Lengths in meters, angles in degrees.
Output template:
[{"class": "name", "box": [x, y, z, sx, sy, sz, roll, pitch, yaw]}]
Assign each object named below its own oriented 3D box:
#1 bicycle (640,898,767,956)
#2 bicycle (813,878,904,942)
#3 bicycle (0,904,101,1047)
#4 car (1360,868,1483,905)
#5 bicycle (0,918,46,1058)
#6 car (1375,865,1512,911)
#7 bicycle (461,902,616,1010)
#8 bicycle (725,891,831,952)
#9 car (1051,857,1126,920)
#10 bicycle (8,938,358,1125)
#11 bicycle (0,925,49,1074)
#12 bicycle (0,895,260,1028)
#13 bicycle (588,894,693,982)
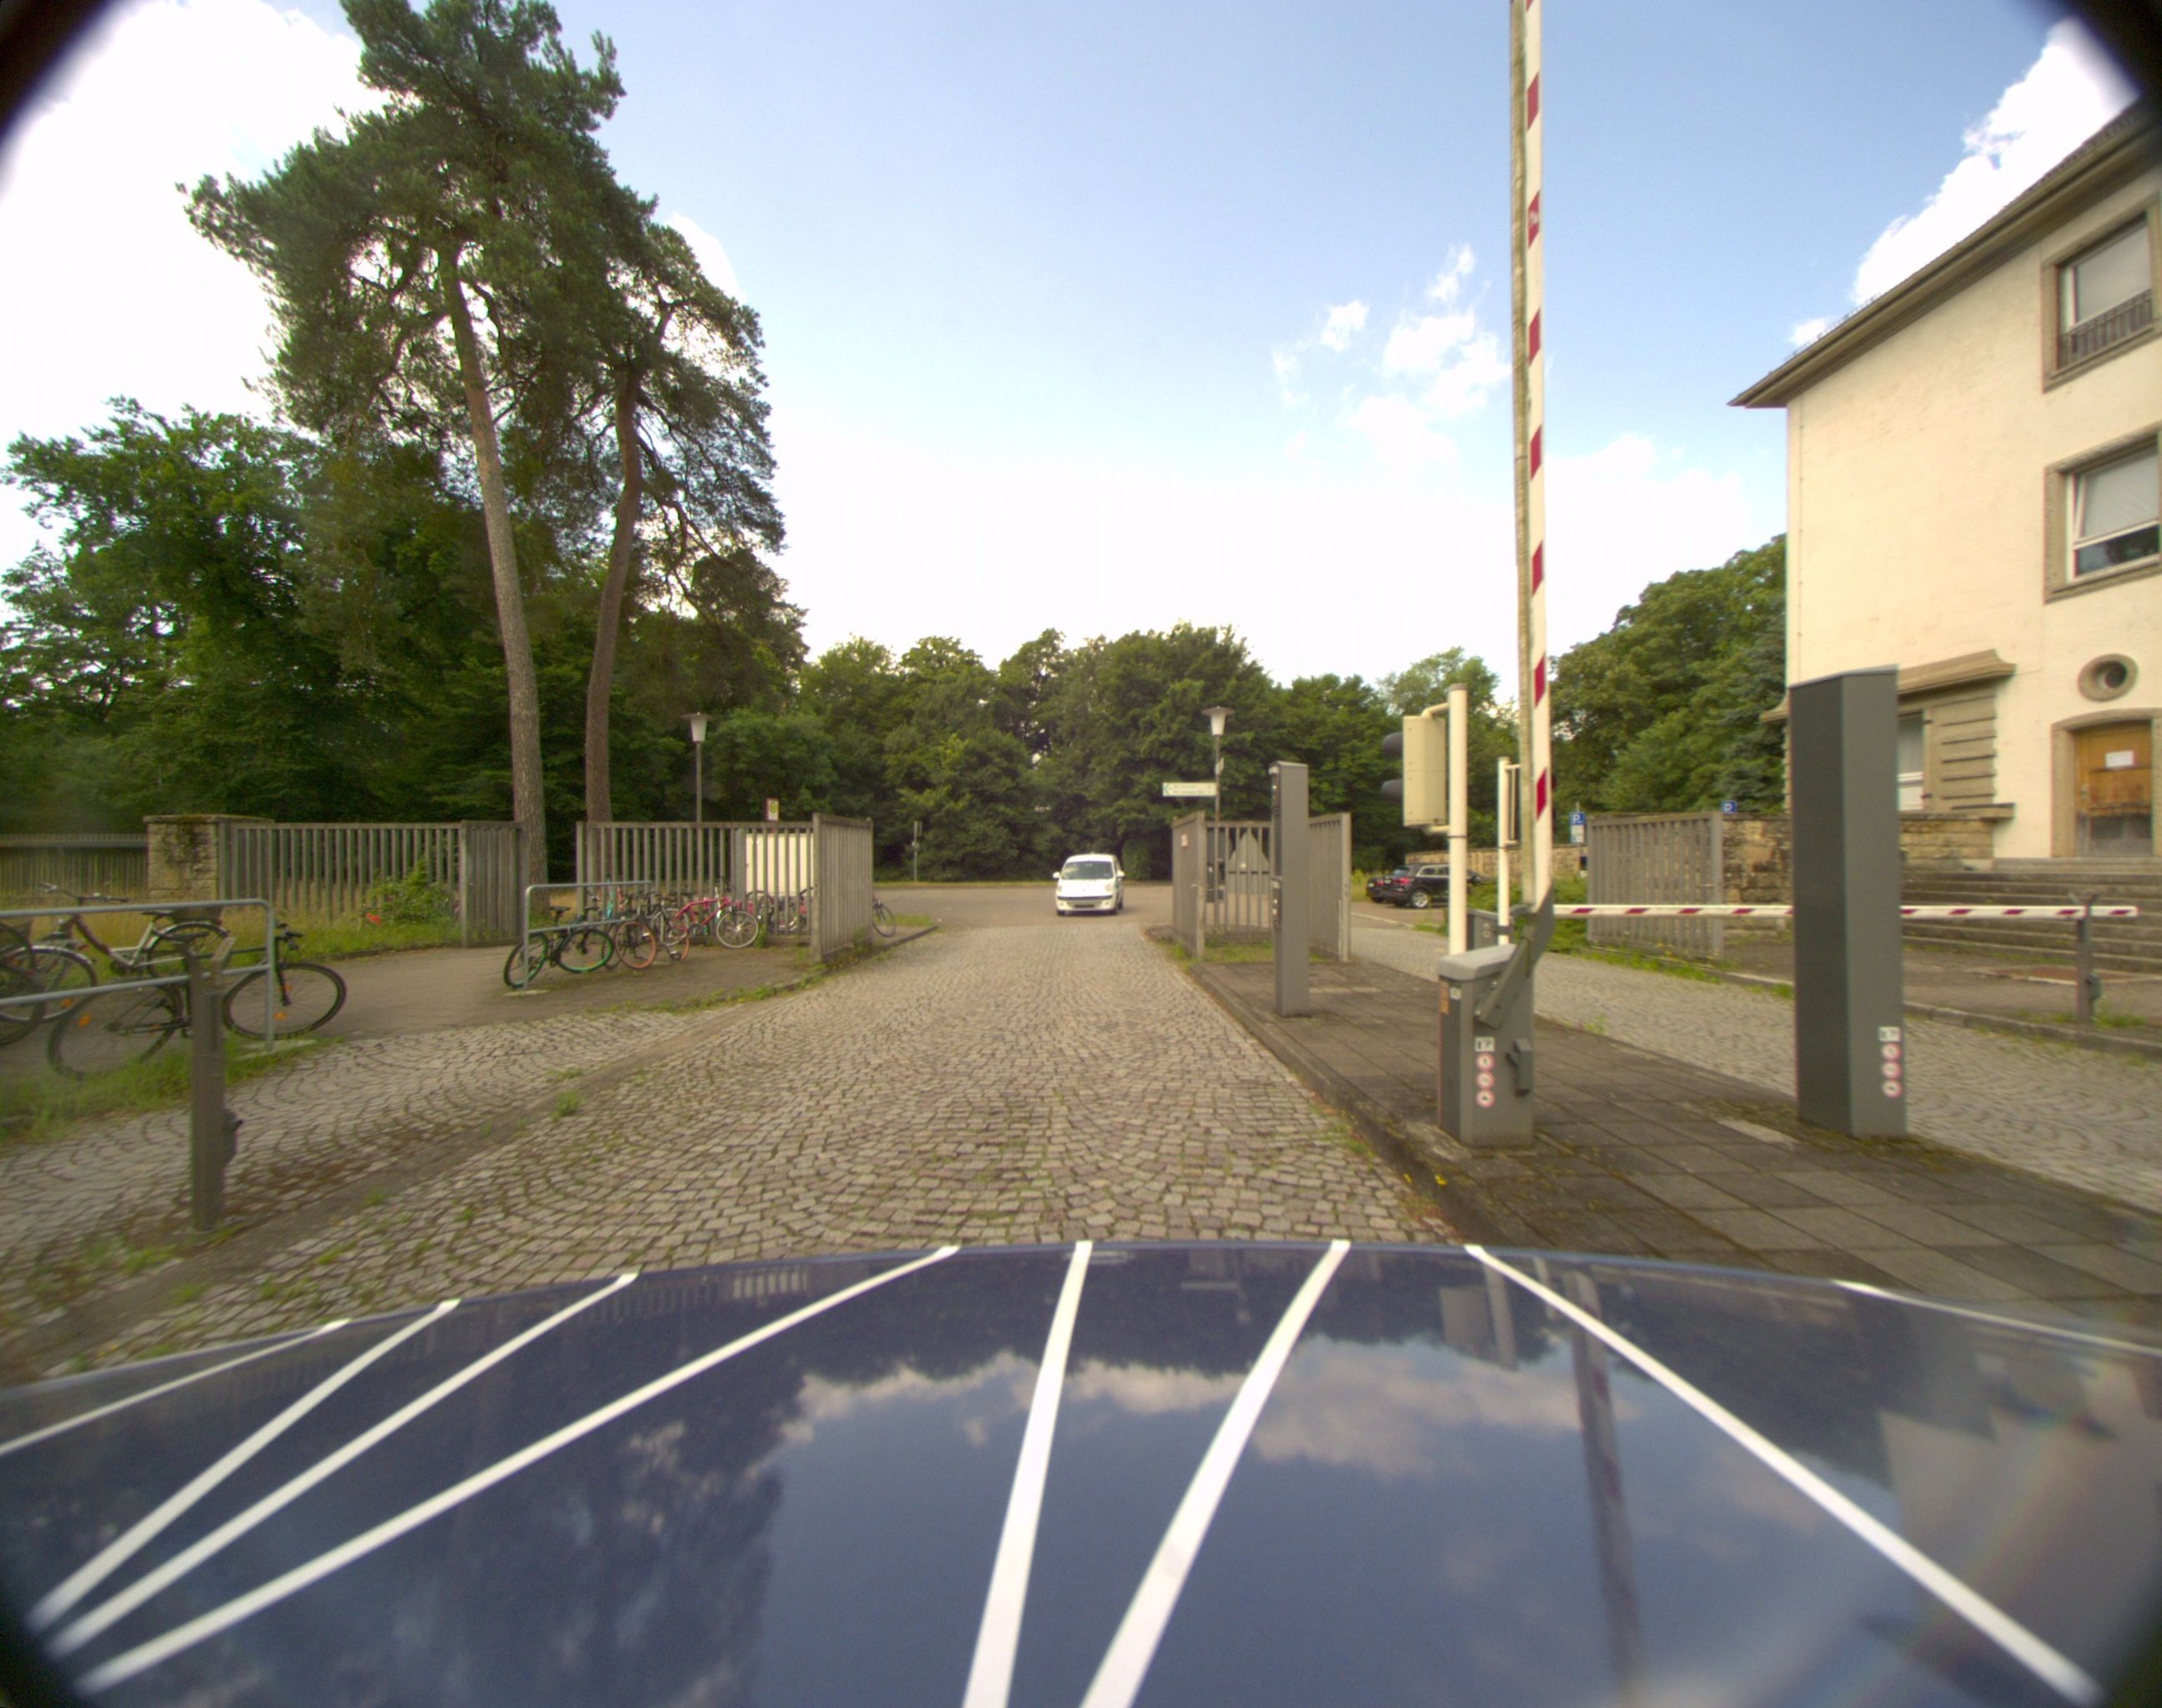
[{"class": "bicycle", "box": [-6.397, 1.232, 12.945, 1.868, 0.934, 0.503, 1, 0, -6]}, {"class": "bicycle", "box": [-4.486, 1.124, 15.392, 1.655, 1.223, 0.748, 1, 0, -9]}, {"class": "bicycle", "box": [-9.258, 1.012, 6.040, 1.744, 1.125, 0.473, 0, 0, -45]}, {"class": "car", "box": [13.224, 1.270, 29.668, 3.995, 1.338, 1.803, -1, 0, 5]}, {"class": "bicycle", "box": [-9.021, 1.043, 5.491, 1.754, 1.039, 0.453, 0, 0, -40]}, {"class": "car", "box": [12.722, 1.173, 26.889, 3.995, 1.508, 1.803, -1, 0, 5]}, {"class": "bicycle", "box": [-6.227, 1.130, 8.833, 0.692, 1.055, 1.565, 0, 0, -1]}, {"class": "bicycle", "box": [-5.438, 1.210, 13.669, 1.730, 1.027, 0.387, 1, 0, 0]}, {"class": "car", "box": [0.338, 0.967, 23.104, 1.866, 1.749, 4.151, 0, 0, 6]}, {"class": "bicycle", "box": [-6.211, 1.164, 5.420, 0.535, 0.947, 1.655, 0, 0, -1]}, {"class": "bicycle", "box": [-8.384, 1.060, 5.290, 1.408, 1.039, 0.338, 0, 0, -28]}, {"class": "bicycle", "box": [-9.722, 1.031, 7.821, 0.648, 1.132, 1.681, 0, 0, 5]}, {"class": "bicycle", "box": [-6.069, 1.122, 10.575, 0.474, 1.051, 1.732, 0, 0, -1]}]
